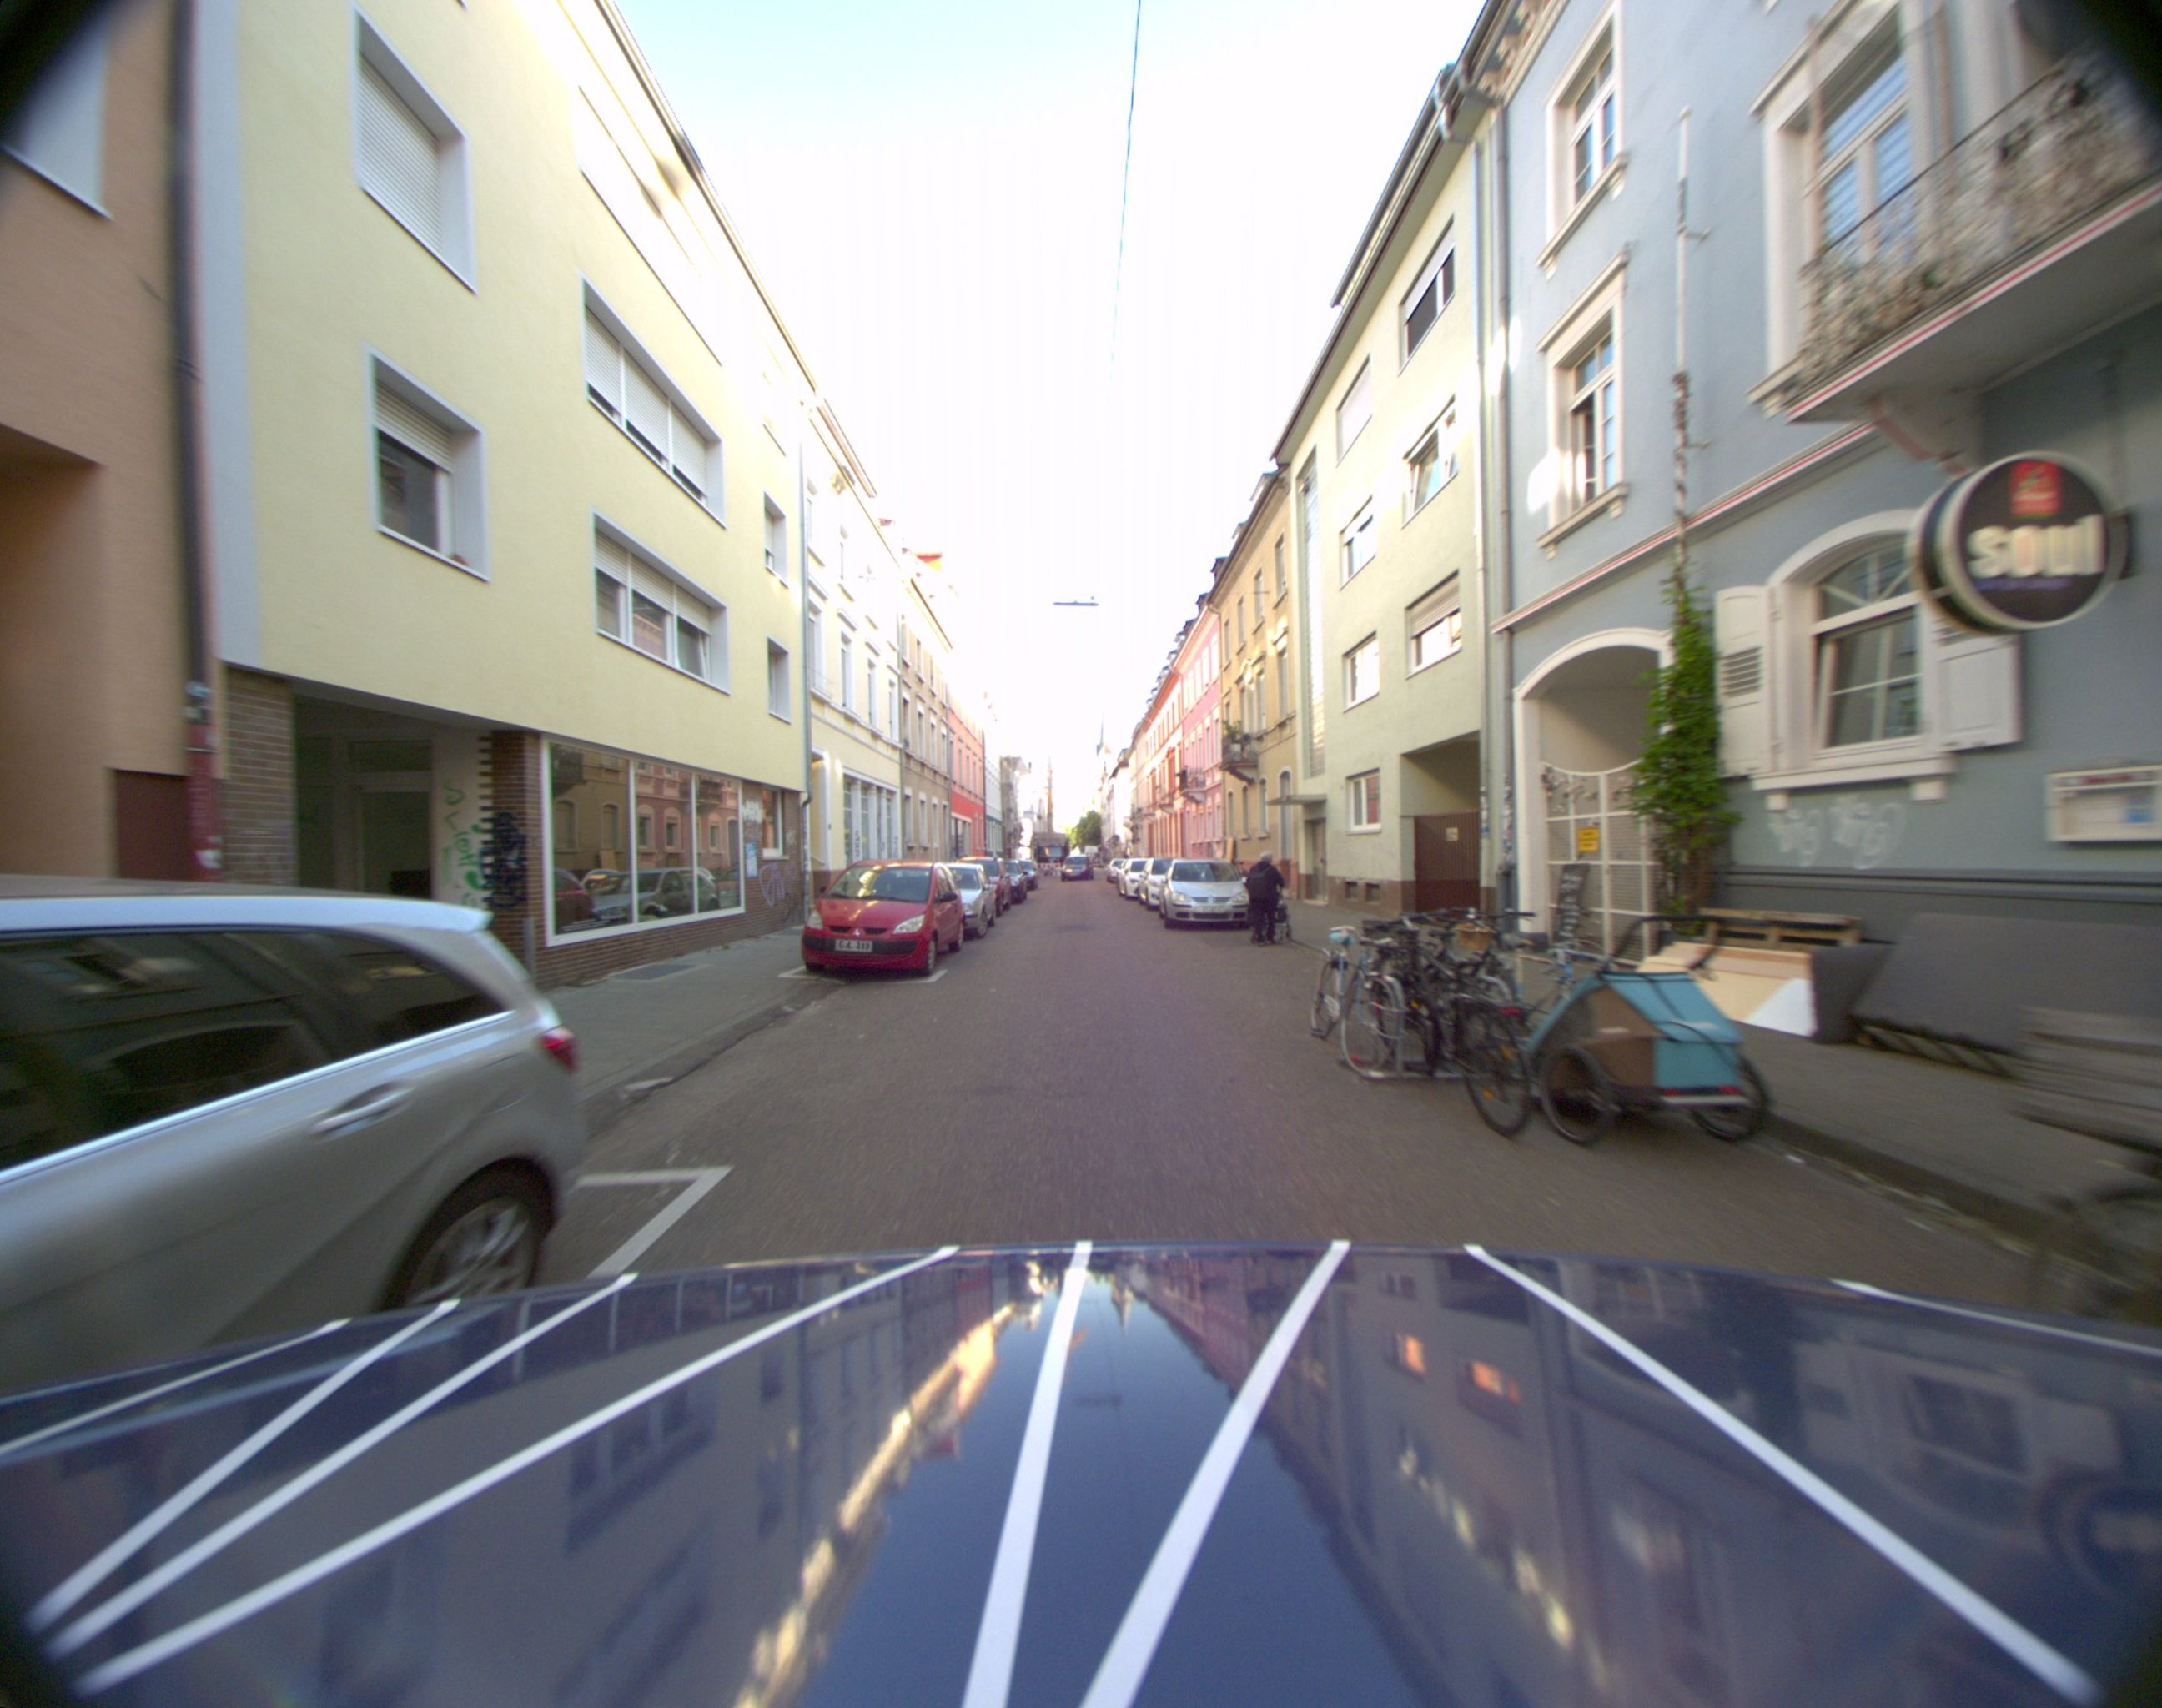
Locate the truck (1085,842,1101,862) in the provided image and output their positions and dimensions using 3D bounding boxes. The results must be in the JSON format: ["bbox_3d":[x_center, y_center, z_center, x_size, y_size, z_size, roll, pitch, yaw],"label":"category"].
[{"bbox_3d":[2.046,-0.392,128.264,2.524,3.271,6.642,-1,0,0],"label":"truck"}]

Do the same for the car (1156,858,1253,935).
[{"bbox_3d":[2.593,0.832,16.744,1.684,1.446,4.034,0,0,3],"label":"car"}]

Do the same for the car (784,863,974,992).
[{"bbox_3d":[-2.743,0.917,11.237,1.701,1.514,3.980,0,0,1],"label":"car"}]

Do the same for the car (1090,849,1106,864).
[{"bbox_3d":[2.216,0.303,99.626,1.998,2.002,4.258,-1,0,0],"label":"car"}]

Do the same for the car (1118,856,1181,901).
[{"bbox_3d":[2.365,0.810,27.250,1.792,1.454,4.199,0,0,-2],"label":"car"}]

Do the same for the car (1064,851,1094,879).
[{"bbox_3d":[-0.138,0.665,48.370,1.832,1.650,4.213,-1,0,0],"label":"car"}]

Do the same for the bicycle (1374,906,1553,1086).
[{"bbox_3d":[3.022,1.052,6.212,0.444,1.099,1.873,-2,0,-2],"label":"bicycle"}]

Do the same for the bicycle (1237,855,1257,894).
[{"bbox_3d":[5.689,0.685,26.101,0.319,1.253,1.494,-2,0,-1],"label":"bicycle"}]

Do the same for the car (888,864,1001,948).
[{"bbox_3d":[-2.690,0.970,15.814,1.693,1.444,4.192,0,0,-2],"label":"car"}]

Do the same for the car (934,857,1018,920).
[{"bbox_3d":[-2.829,0.884,21.331,1.794,1.542,4.000,-1,0,0],"label":"car"}]

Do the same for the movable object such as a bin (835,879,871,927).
[{"bbox_3d":[-5.496,1.169,18.341,0.665,1.092,0.557,-2,1,1],"label":"movable object such as a bin"}]

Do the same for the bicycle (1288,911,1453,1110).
[{"bbox_3d":[2.085,1.062,5.732,0.500,1.099,1.829,-2,0,-1],"label":"bicycle"}]

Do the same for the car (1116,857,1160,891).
[{"bbox_3d":[2.498,0.846,34.186,1.731,1.383,4.302,0,0,1],"label":"car"}]

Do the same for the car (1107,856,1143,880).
[{"bbox_3d":[2.526,0.796,44.560,1.771,1.335,4.379,0,0,-1],"label":"car"}]

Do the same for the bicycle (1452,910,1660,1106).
[{"bbox_3d":[3.423,1.040,5.657,0.444,1.099,1.697,-2,0,-1],"label":"bicycle"}]

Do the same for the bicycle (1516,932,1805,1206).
[{"bbox_3d":[3.006,1.061,4.048,0.815,1.168,0.920,-2,1,-3],"label":"bicycle"}]

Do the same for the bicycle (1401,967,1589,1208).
[{"bbox_3d":[2.174,1.169,4.137,0.322,0.911,1.290,-1,0,0],"label":"bicycle"}]

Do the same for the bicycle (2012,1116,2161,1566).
[{"bbox_3d":[2.761,1.171,1.245,0.555,0.938,1.571,-1,0,0],"label":"bicycle"}]

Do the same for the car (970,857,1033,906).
[{"bbox_3d":[-2.730,0.902,26.856,1.766,1.513,4.379,-2,0,-1],"label":"car"}]

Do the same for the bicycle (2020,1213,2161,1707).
[{"bbox_3d":[2.154,1.206,0.891,0.391,0.911,1.393,-1,0,0],"label":"bicycle"}]

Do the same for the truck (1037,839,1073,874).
[{"bbox_3d":[-2.196,0.166,66.036,2.819,2.735,7.677,-3,0,-1],"label":"truck"}]

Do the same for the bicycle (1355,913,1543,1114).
[{"bbox_3d":[2.674,1.087,5.771,0.444,1.099,1.931,-2,0,-1],"label":"bicycle"}]

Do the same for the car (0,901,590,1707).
[{"bbox_3d":[-2.719,0.966,0.704,1.750,1.547,4.171,-1,0,1],"label":"car"}]

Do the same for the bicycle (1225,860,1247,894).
[{"bbox_3d":[5.304,0.774,26.041,0.418,1.095,1.494,-2,0,-1],"label":"bicycle"}]

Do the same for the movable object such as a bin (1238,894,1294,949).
[{"bbox_3d":[3.238,1.175,13.314,0.846,0.892,0.586,-2,1,5],"label":"movable object such as a bin"}]

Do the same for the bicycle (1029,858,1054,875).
[{"bbox_3d":[-2.891,0.936,55.725,1.713,1.130,0.470,-3,1,-12],"label":"bicycle"}]

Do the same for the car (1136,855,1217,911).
[{"bbox_3d":[2.696,0.772,22.241,1.794,1.443,3.999,-1,0,-1],"label":"car"}]

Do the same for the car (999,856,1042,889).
[{"bbox_3d":[-2.889,0.870,37.090,1.831,1.474,4.464,0,0,-1],"label":"car"}]

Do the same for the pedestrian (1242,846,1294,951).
[{"bbox_3d":[3.131,0.734,12.770,0.714,1.698,0.672,-2,1,6],"label":"pedestrian"}]
